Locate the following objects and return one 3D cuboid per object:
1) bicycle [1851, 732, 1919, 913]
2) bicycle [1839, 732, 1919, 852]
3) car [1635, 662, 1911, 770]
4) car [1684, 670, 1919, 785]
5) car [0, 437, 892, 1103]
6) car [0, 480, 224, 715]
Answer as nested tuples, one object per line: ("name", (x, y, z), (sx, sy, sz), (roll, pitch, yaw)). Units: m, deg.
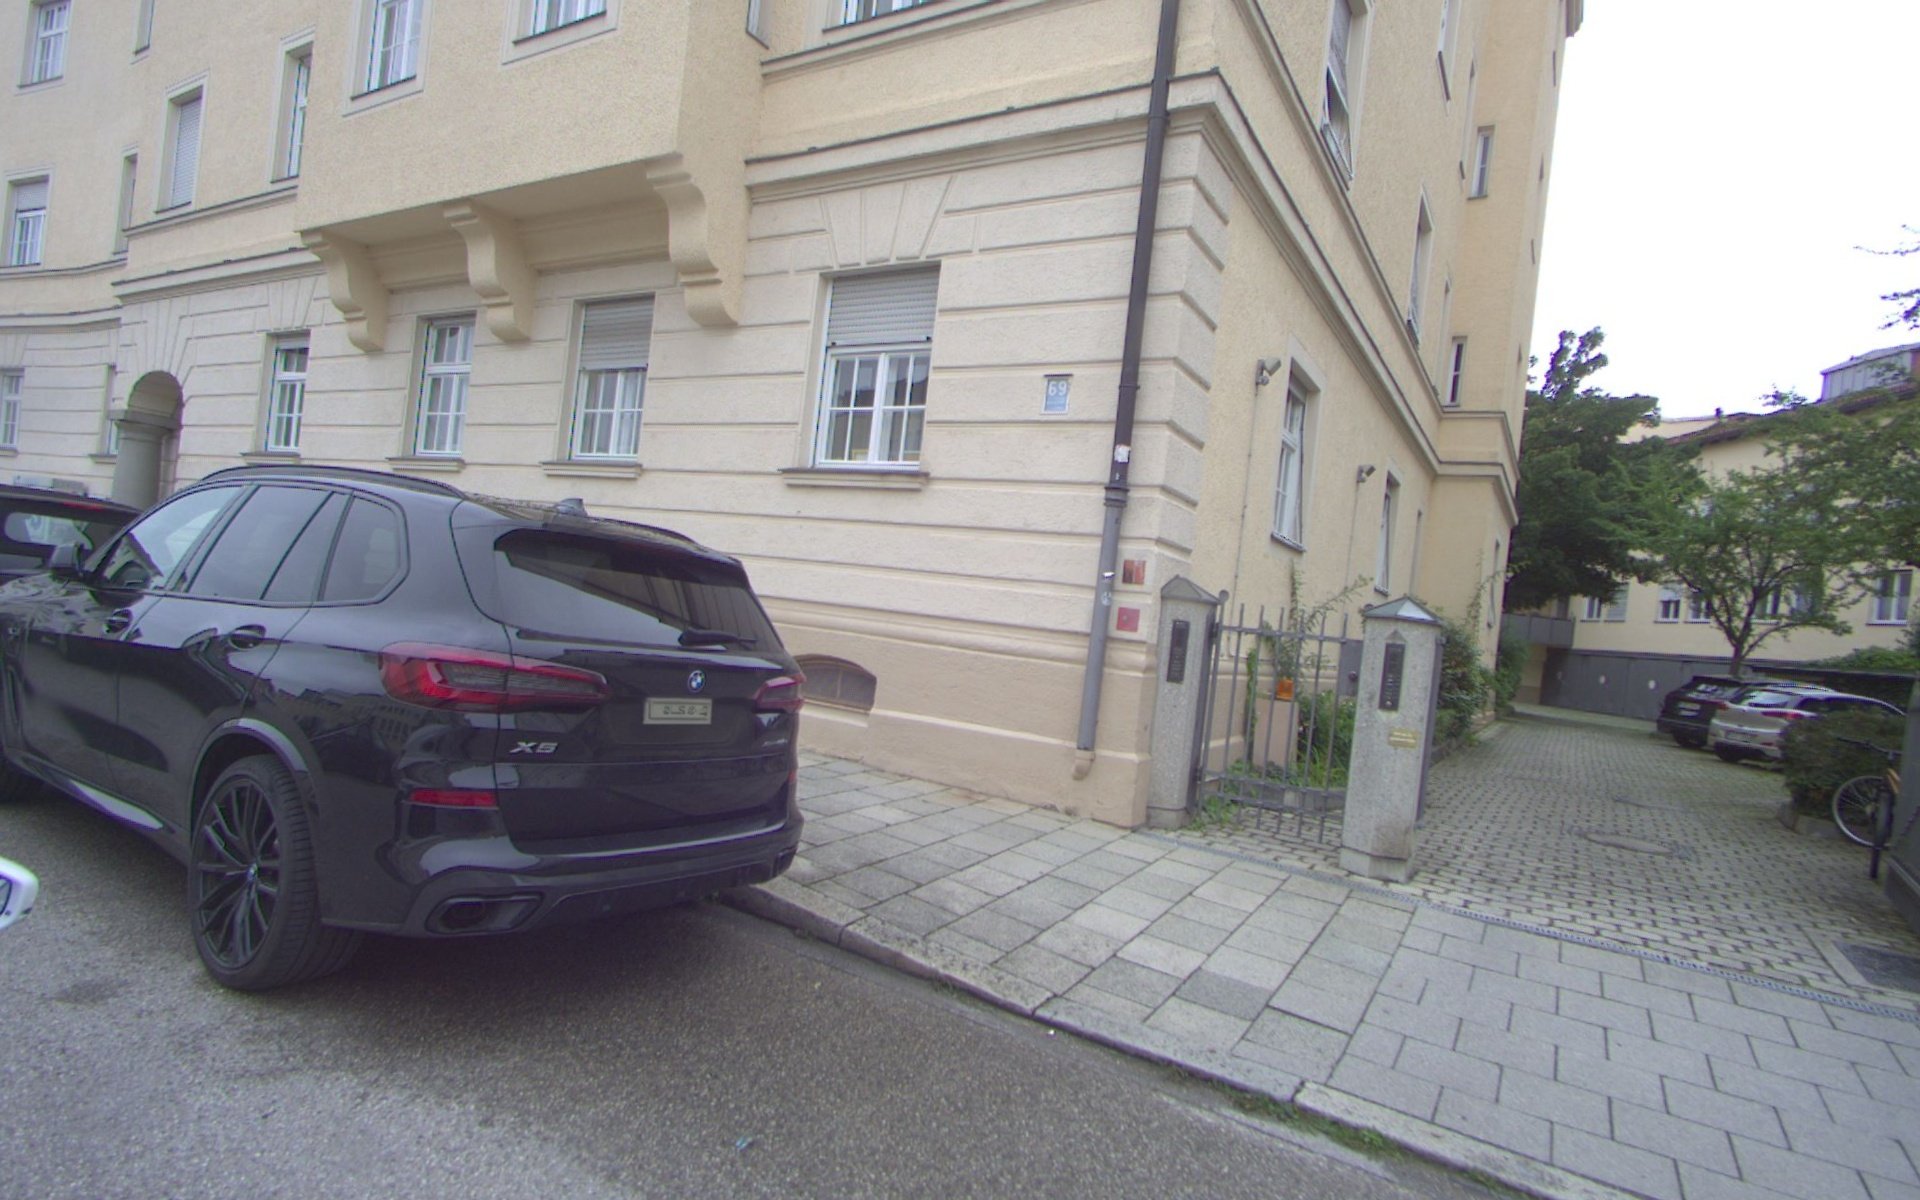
("bicycle", (7.230, 1.640, 7.558), (0.572, 1.109, 1.870), (6, 1, 38))
("bicycle", (9.370, 1.860, 9.170), (1.924, 1.026, 0.579), (5, -2, 37))
("car", (16.486, 2.330, 20.522), (4.168, 1.568, 1.931), (6, 1, -7))
("car", (15.554, 2.285, 17.854), (4.168, 1.534, 1.780), (6, 1, -7))
("car", (-2.882, 0.328, 4.724), (4.785, 1.737, 1.872), (6, -2, 32))
("car", (-7.381, -0.105, 7.863), (3.060, 1.541, 1.537), (6, -2, 33))
